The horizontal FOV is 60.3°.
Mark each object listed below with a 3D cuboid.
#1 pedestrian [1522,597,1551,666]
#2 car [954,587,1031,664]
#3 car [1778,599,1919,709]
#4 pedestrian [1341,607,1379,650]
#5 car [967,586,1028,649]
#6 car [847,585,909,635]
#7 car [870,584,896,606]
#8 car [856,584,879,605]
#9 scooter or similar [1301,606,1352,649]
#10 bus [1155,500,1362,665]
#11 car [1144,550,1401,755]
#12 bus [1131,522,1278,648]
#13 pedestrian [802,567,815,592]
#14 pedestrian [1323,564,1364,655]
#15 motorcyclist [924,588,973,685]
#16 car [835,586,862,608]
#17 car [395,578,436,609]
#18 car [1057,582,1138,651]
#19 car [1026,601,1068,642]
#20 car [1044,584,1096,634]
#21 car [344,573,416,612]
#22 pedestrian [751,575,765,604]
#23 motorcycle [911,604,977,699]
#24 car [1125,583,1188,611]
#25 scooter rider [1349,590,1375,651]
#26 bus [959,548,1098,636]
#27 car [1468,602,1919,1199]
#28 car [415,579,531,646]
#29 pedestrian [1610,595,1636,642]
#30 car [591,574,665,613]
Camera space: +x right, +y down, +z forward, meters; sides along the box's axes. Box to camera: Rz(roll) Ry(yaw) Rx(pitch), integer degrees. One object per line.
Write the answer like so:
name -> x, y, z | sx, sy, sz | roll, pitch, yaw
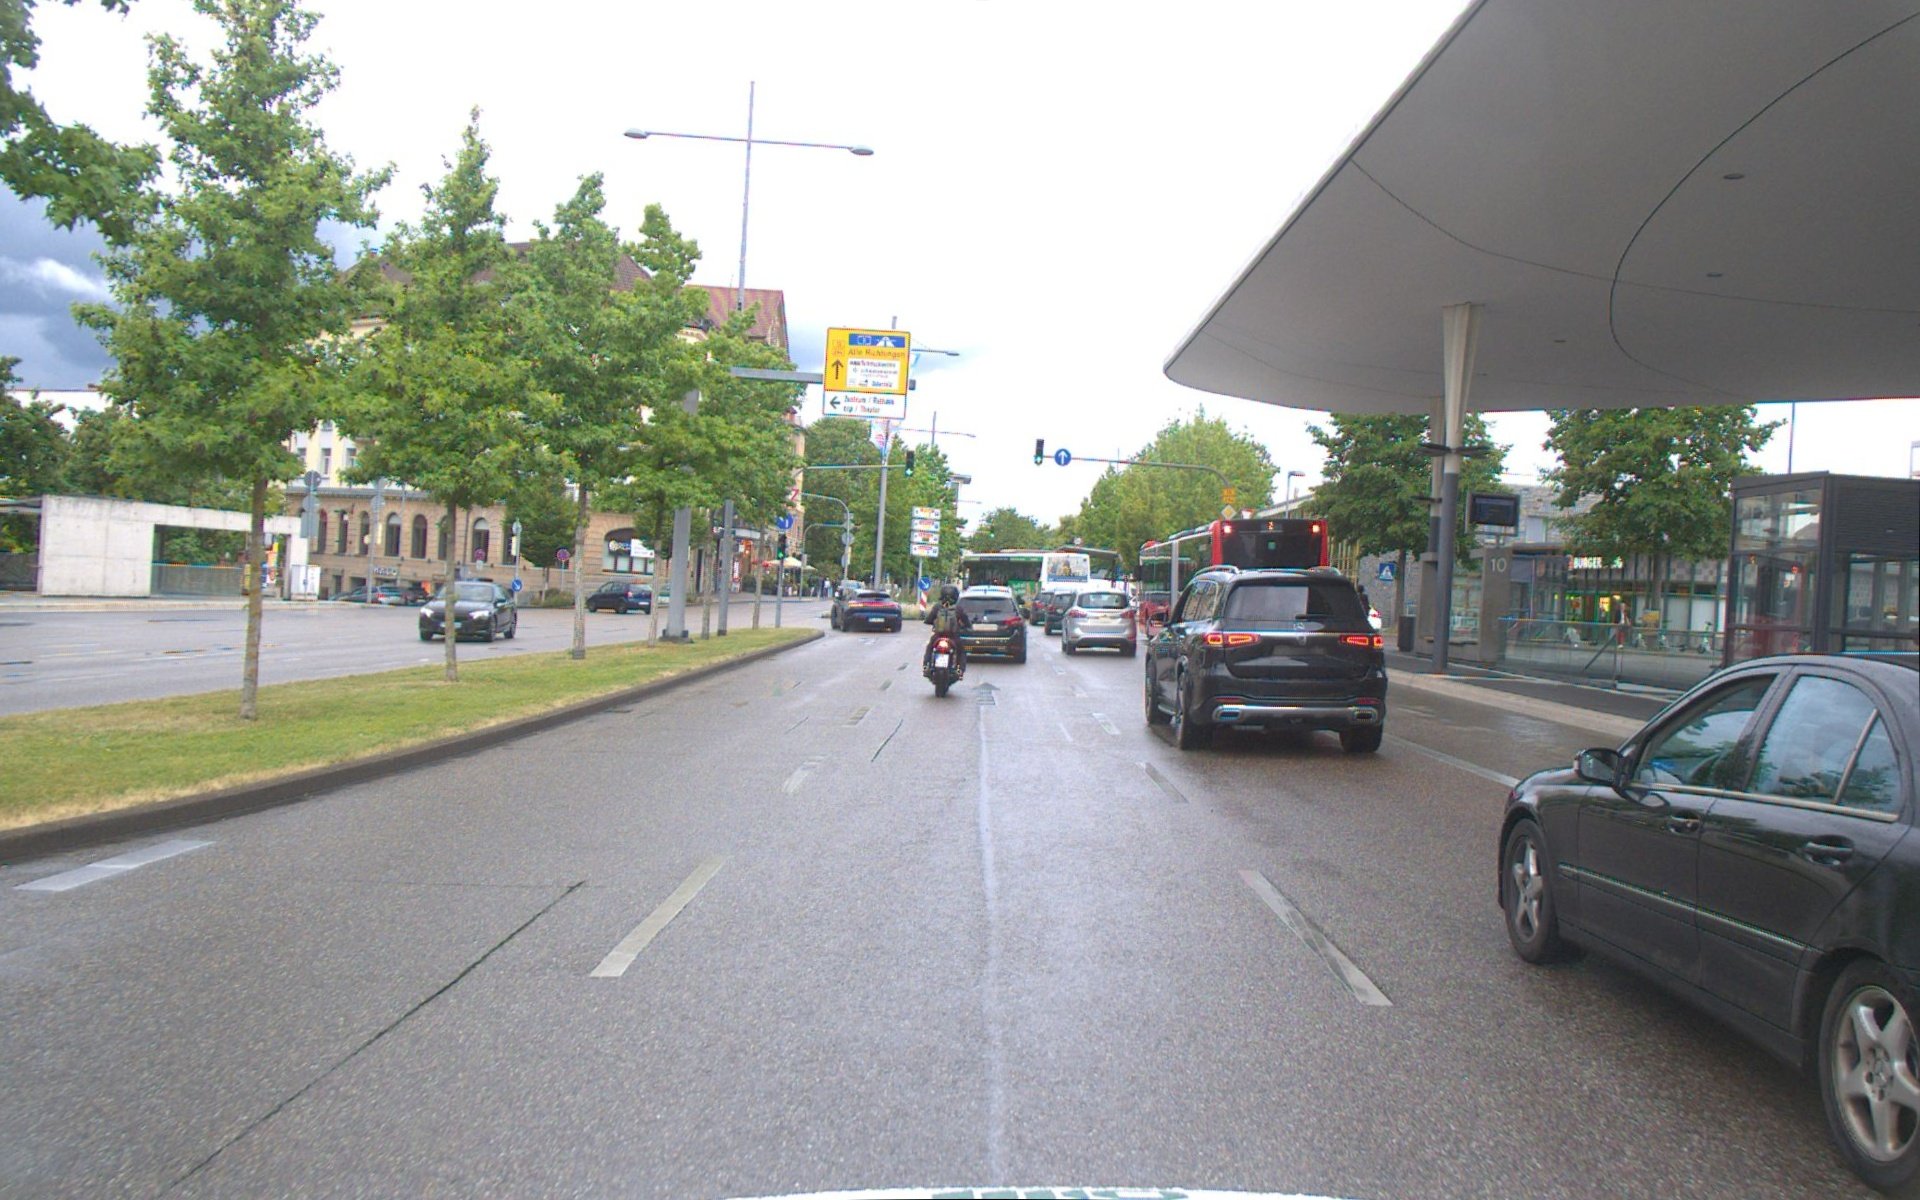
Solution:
pedestrian -> 14.404, 0.789, 41.321 | 0.563, 1.707, 0.582 | 1, -1, 27
car -> 0.712, 0.497, 35.212 | 1.543, 1.531, 3.872 | 0, 0, 1
car -> 15.769, 0.889, 27.994 | 1.677, 1.691, 4.239 | 3, 0, 0
pedestrian -> 10.199, 0.738, 42.142 | 0.894, 1.002, 0.634 | 3, -4, 15
car -> 0.986, 0.433, 44.454 | 1.543, 1.594, 3.871 | 0, 0, 1
car -> -2.717, 0.294, 55.462 | 1.778, 1.598, 4.404 | 0, 0, 1
car -> -5.733, -0.357, 123.764 | 1.743, 1.594, 3.430 | 0, 0, 1
car -> -7.354, -0.439, 131.885 | 1.543, 1.594, 3.430 | 0, 0, 1
scooter or similar -> 9.396, 0.705, 42.398 | 1.216, 1.030, 0.764 | 2, -1, 15
bus -> 6.861, -0.392, 39.907 | 3.218, 3.349, 10.880 | 2, 0, 1
car -> 3.203, 0.472, 17.951 | 1.917, 1.908, 4.874 | 0, 0, 1
bus -> 7.102, -0.435, 49.388 | 3.223, 3.346, 8.851 | 2, 0, 1
pedestrian -> -12.192, -1.629, 132.990 | 0.715, 2.000, 0.820 | 2, 0, -26
pedestrian -> 8.956, 0.228, 38.669 | 0.761, 2.048, 0.782 | 5, 0, 13
motorcyclist -> -0.164, 0.519, 23.981 | 0.628, 1.371, 0.689 | 2, 0, 4
car -> -8.443, -0.248, 125.772 | 1.743, 1.594, 3.430 | 0, 0, 1
car -> -30.366, -0.377, 92.185 | 1.639, 1.632, 3.223 | -1, 2, -28
car -> 3.330, 0.369, 40.557 | 1.705, 1.594, 3.871 | 0, 0, 1
car -> 3.533, 0.858, 67.536 | 1.543, 1.594, 3.796 | 0, 0, 1
car -> 3.672, 0.278, 55.538 | 1.543, 1.594, 3.871 | 0, 0, 1
car -> -30.856, -0.388, 87.888 | 3.931, 1.713, 1.860 | 4, -3, 43
pedestrian -> -14.077, -0.743, 115.390 | 0.715, 2.049, 0.820 | 2, 0, -26
motorcycle -> -0.211, 0.716, 23.752 | 0.776, 1.284, 1.856 | 1, 0, 4
car -> 11.678, -0.193, 98.545 | 1.564, 1.594, 3.744 | 0, 0, -38
scooter rider -> 10.251, 0.534, 42.197 | 0.579, 1.516, 0.765 | 2, -1, 14
bus -> 3.258, -0.422, 84.003 | 2.795, 4.057, 11.796 | 2, 0, -19
car -> 3.191, 0.790, 5.437 | 1.663, 1.487, 4.303 | 1, 0, -1
car -> -12.250, 0.298, 41.878 | 1.646, 1.554, 4.638 | 2, 0, -2
pedestrian -> 24.021, 0.685, 59.911 | 0.592, 1.605, 0.673 | 5, -4, 7
car -> -15.136, -0.318, 75.285 | 1.823, 1.656, 3.656 | 3, 0, -37
